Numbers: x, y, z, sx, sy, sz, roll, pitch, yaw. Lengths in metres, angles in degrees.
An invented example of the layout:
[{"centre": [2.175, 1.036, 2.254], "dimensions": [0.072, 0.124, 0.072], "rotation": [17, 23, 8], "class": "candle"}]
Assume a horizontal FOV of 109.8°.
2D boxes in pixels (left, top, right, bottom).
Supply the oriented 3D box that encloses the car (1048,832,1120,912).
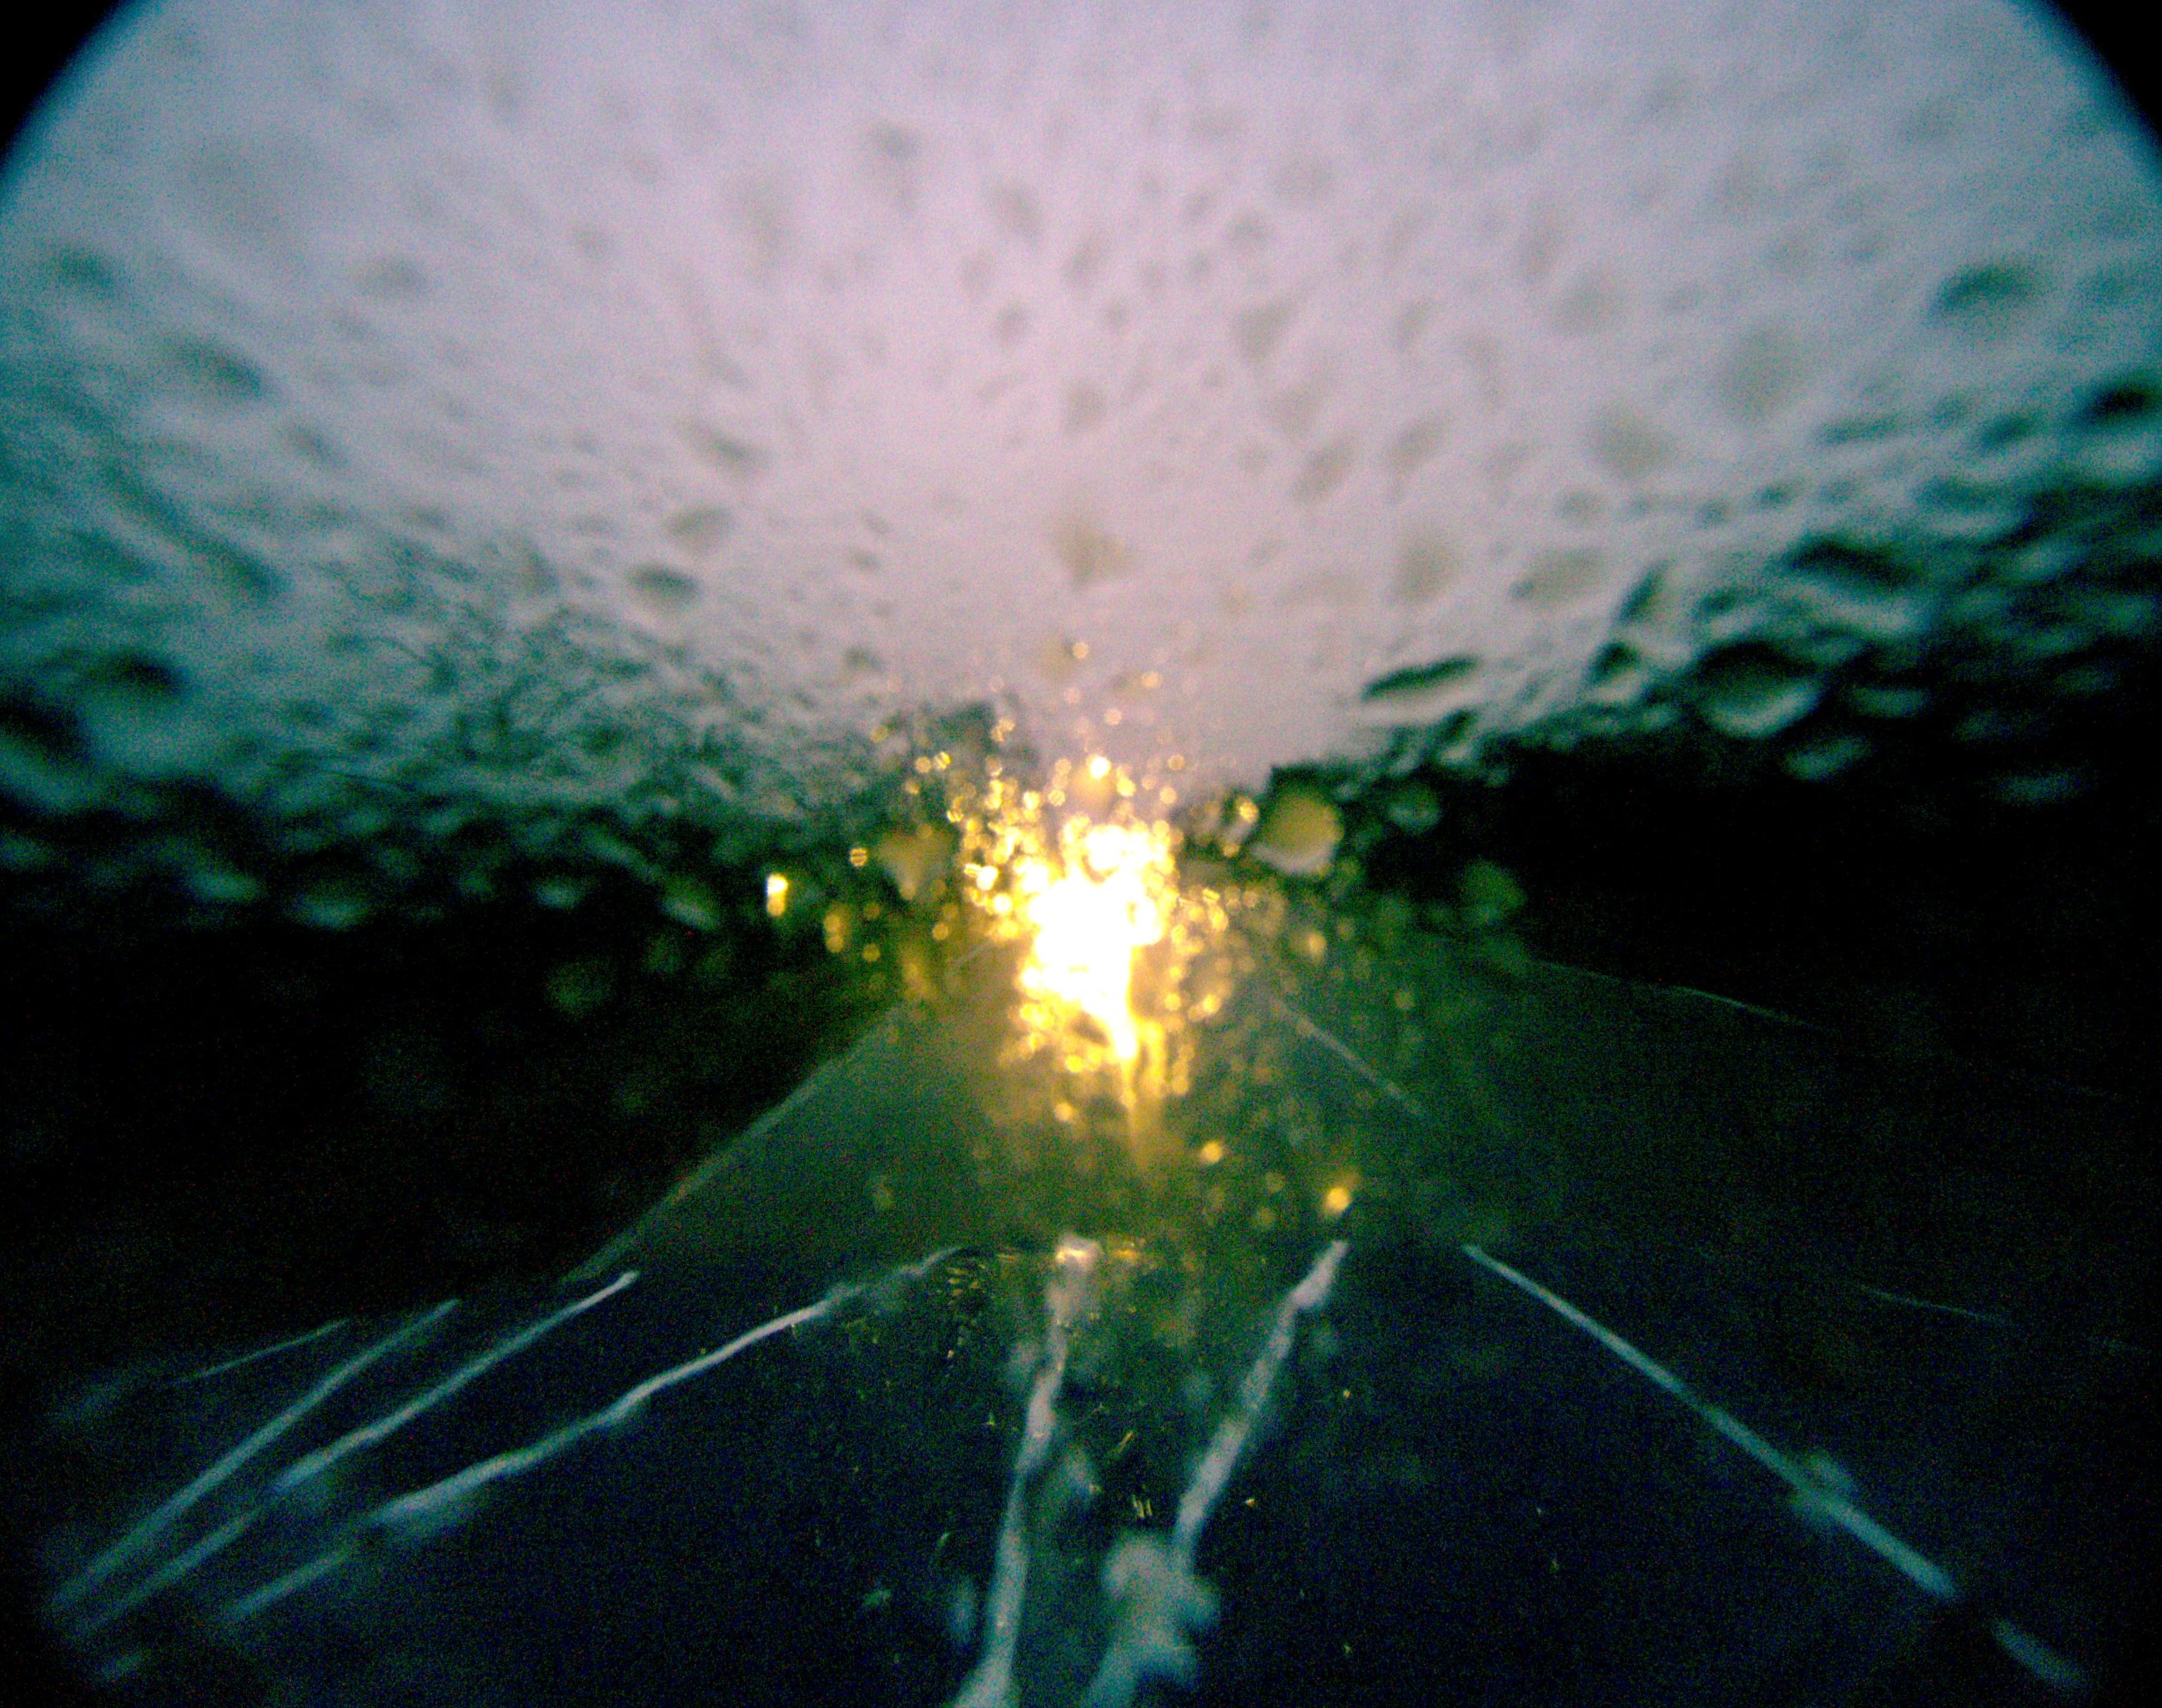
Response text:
[{"centre": [0.156, 0.500, 23.571], "dimensions": [1.953, 2.195, 4.535], "rotation": [-2, 0, 2], "class": "car"}]
